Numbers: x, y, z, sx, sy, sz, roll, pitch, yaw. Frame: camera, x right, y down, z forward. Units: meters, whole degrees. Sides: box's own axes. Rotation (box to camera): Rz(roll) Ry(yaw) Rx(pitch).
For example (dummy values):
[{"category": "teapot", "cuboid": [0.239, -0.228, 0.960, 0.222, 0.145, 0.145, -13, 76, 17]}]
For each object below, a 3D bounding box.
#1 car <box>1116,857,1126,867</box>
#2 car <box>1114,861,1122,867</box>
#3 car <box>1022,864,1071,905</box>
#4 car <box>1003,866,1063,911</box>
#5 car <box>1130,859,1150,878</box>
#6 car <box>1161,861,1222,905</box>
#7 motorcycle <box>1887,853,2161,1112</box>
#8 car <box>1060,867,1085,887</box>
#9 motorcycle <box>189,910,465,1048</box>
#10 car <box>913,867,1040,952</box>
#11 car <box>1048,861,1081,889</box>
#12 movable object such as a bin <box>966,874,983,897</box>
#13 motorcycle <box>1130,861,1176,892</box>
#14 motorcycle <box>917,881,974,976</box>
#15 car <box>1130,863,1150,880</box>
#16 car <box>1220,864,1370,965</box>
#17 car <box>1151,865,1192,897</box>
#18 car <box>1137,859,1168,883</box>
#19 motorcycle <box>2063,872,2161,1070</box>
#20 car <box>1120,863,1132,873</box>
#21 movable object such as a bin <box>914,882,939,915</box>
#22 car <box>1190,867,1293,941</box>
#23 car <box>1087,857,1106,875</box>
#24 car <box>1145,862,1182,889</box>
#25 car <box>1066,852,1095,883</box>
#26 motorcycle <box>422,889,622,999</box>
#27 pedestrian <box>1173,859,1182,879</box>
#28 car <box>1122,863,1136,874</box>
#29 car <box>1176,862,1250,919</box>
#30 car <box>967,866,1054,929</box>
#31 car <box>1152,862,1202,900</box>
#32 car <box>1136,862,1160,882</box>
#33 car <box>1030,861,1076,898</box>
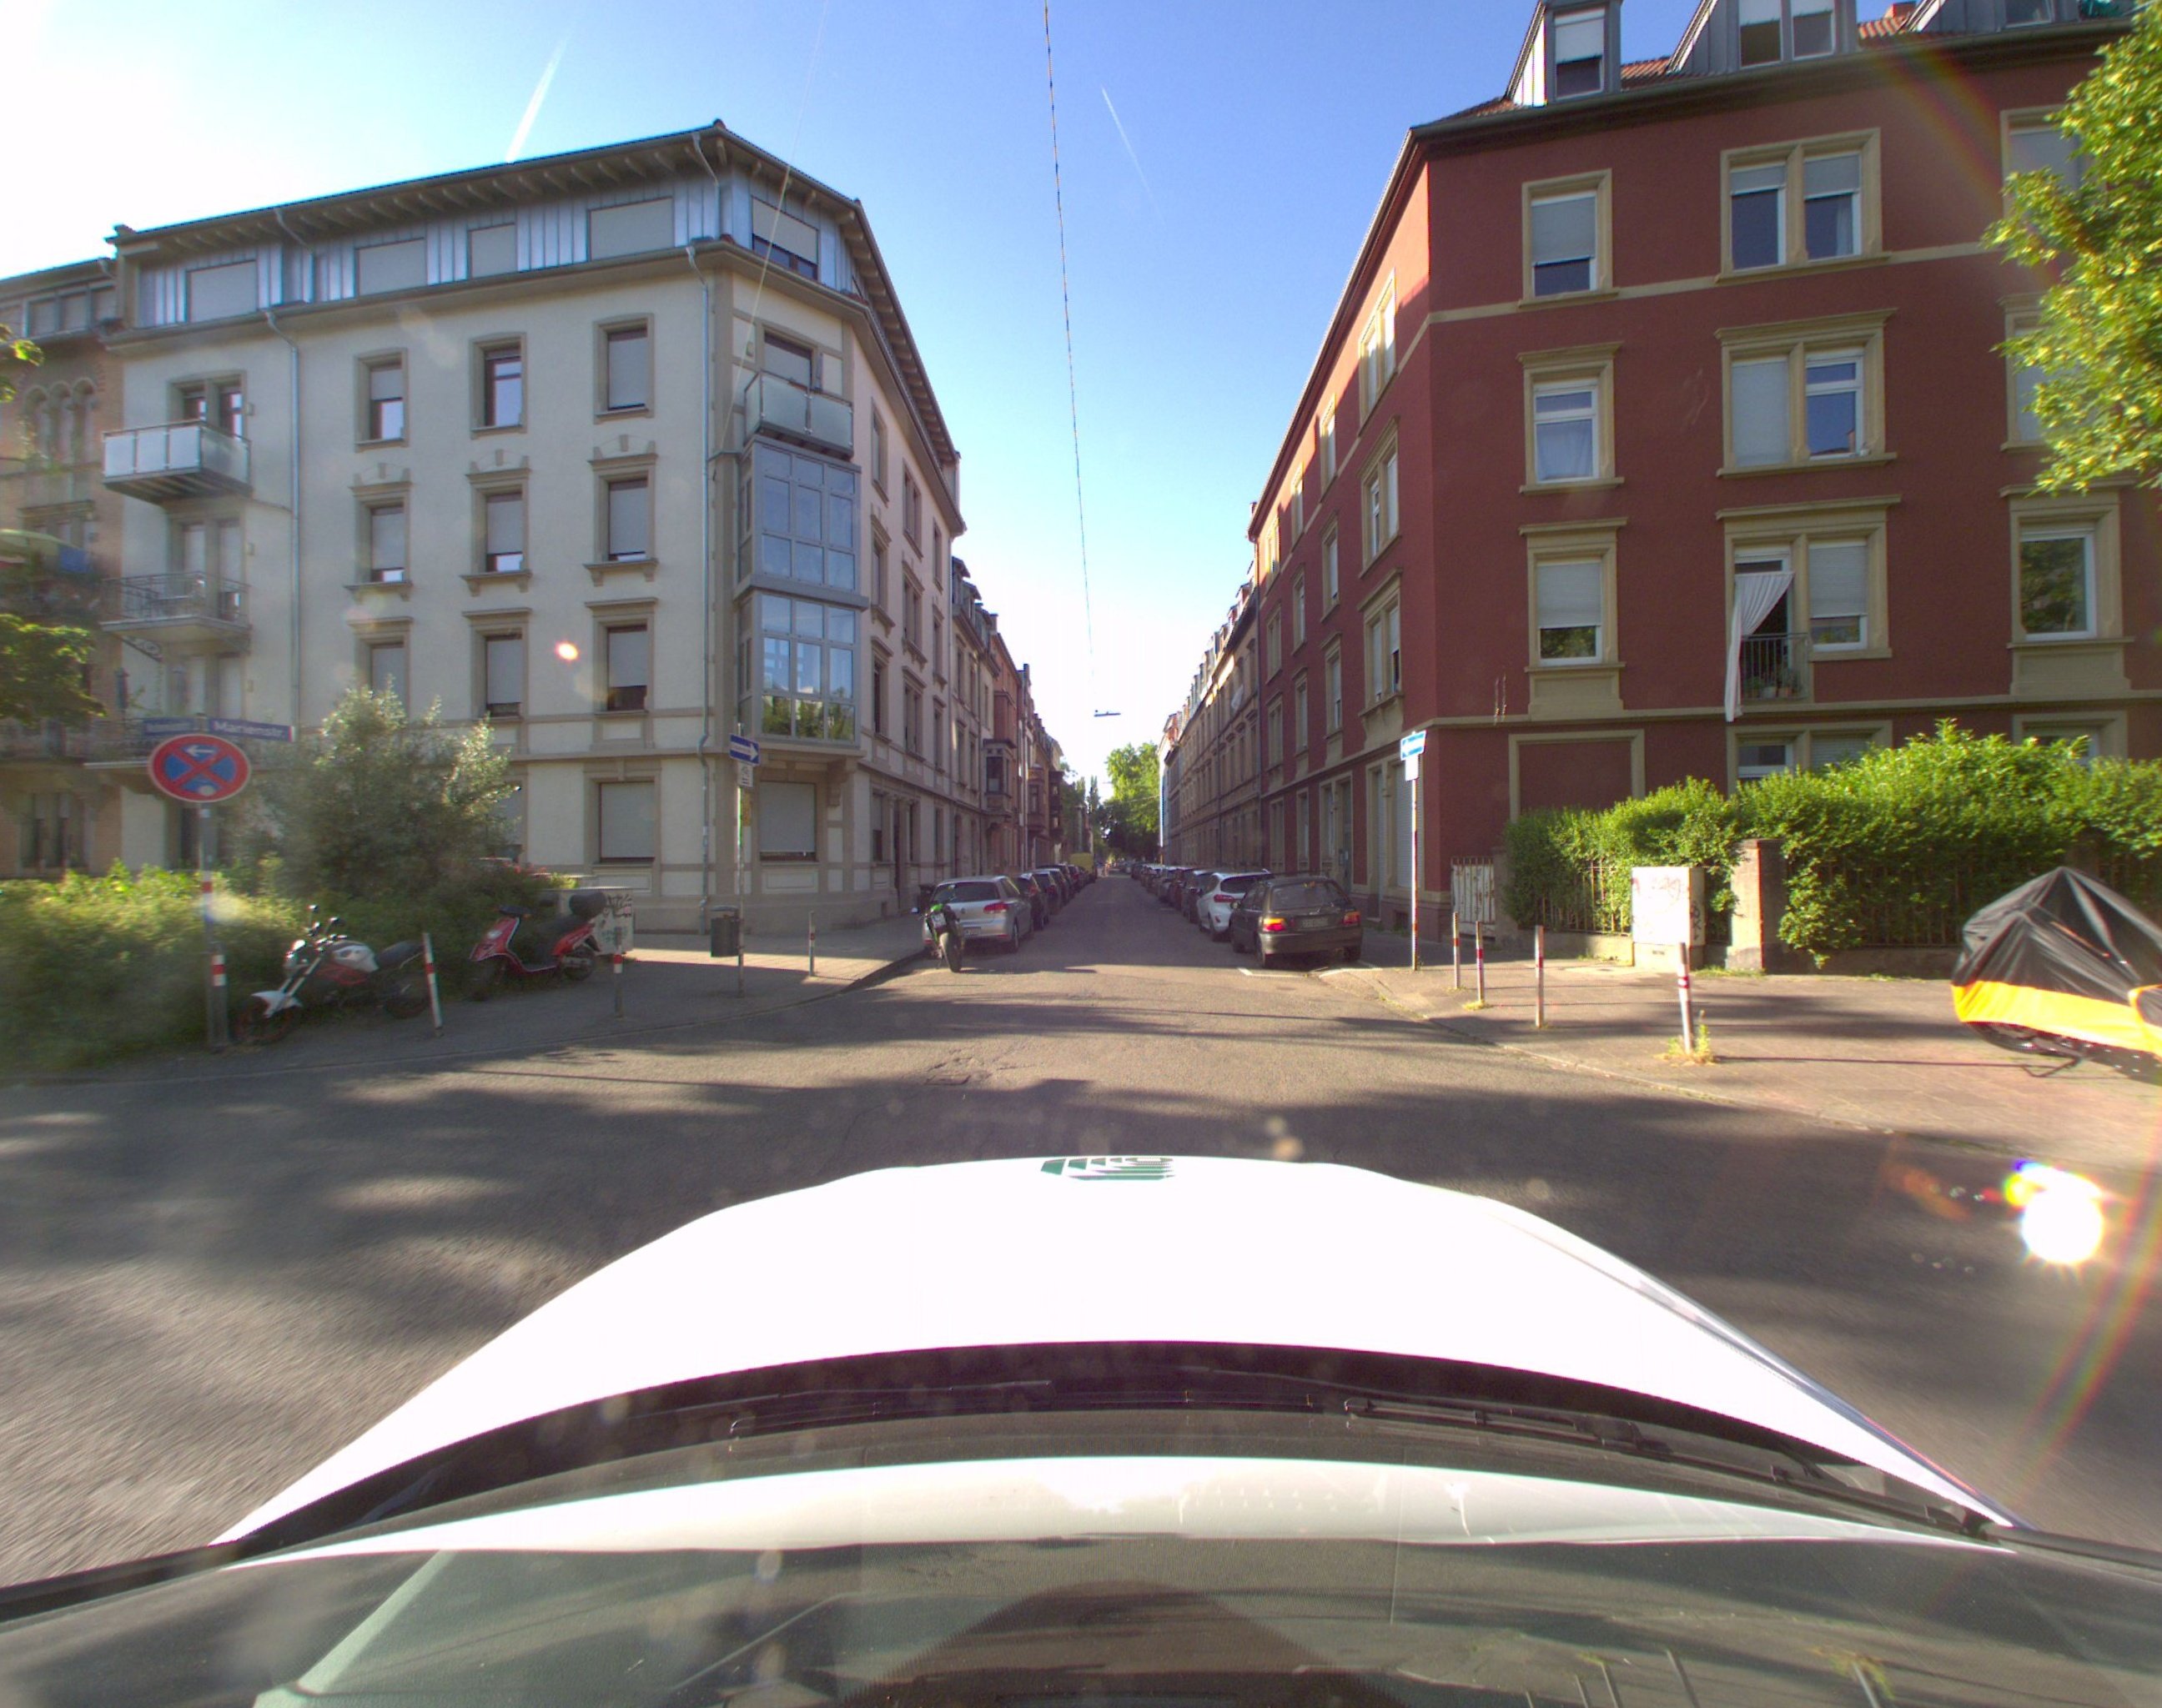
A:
[{"category": "car", "cuboid": [9.174, 1.892, 188.377, 2.153, 2.256, 4.526, 0, -1, 1]}, {"category": "car", "cuboid": [10.290, 2.818, 226.264, 1.986, 1.728, 4.001, -1, -1, 2]}, {"category": "car", "cuboid": [-1.325, 1.170, 32.610, 1.637, 1.455, 3.839, -3, -1, 1]}, {"category": "car", "cuboid": [-1.559, 1.104, 27.662, 1.775, 1.403, 3.742, 0, -1, 1]}, {"category": "car", "cuboid": [5.981, 1.494, 82.917, 1.747, 1.786, 4.725, -3, 0, 2]}, {"category": "car", "cuboid": [3.919, 0.987, 29.465, 1.653, 1.479, 4.023, 0, 0, 0]}, {"category": "motorcycle", "cuboid": [7.010, 0.769, 5.515, 0.866, 1.525, 2.630, -1, 0, 10]}, {"category": "car", "cuboid": [-0.591, 1.626, 58.219, 1.612, 1.326, 3.613, -3, -1, 1]}, {"category": "motorcycle", "cuboid": [-7.219, 1.132, 7.948, 0.634, 1.090, 1.878, -1, -2, 17]}, {"category": "car", "cuboid": [-1.969, 1.023, 16.503, 1.773, 1.483, 3.936, 0, -1, 4]}, {"category": "car", "cuboid": [-0.913, 1.195, 47.693, 1.775, 1.606, 4.069, 0, -1, 1]}, {"category": "movable object such as a bin", "cuboid": [-4.432, 1.298, 33.917, 0.610, 0.920, 0.734, 0, -1, 1]}, {"category": "motorcycle", "cuboid": [3.713, 1.176, 41.981, 2.229, 1.536, 0.883, 2, -1, -24]}, {"category": "motorcycle", "cuboid": [-2.168, 1.152, 13.199, 0.675, 1.334, 1.997, -3, 0, -5]}, {"category": "car", "cuboid": [5.595, 1.646, 77.483, 1.746, 1.453, 4.291, -4, 0, 3]}, {"category": "car", "cuboid": [3.499, 0.922, 13.971, 1.662, 1.483, 3.706, 0, -1, 1]}, {"category": "car", "cuboid": [4.332, 1.266, 39.437, 1.685, 1.406, 3.995, 0, 0, 3]}, {"category": "car", "cuboid": [4.861, 1.147, 55.991, 1.748, 1.446, 4.068, -4, -1, 0]}, {"category": "motorcycle", "cuboid": [8.047, 0.828, 5.164, 0.863, 1.404, 2.550, -1, -1, 10]}, {"category": "car", "cuboid": [7.687, 2.392, 138.290, 1.887, 1.625, 4.000, 0, -1, 1]}, {"category": "movable object such as a bin", "cuboid": [-4.647, 1.335, 24.531, 0.619, 0.956, 0.511, 1, -1, 1]}, {"category": "car", "cuboid": [3.515, 1.040, 18.493, 1.699, 1.462, 3.971, 0, -1, 2]}, {"category": "car", "cuboid": [1.588, 1.263, 84.327, 1.813, 1.766, 4.333, 0, -1, -1]}, {"category": "car", "cuboid": [4.508, 1.134, 44.983, 1.770, 1.397, 4.320, 0, 0, 2]}, {"category": "car", "cuboid": [0.014, 1.144, 69.619, 2.167, 2.508, 5.880, -3, -1, 1]}, {"category": "motorcycle", "cuboid": [-6.891, 1.050, 10.196, 0.606, 1.197, 2.054, -1, -2, 21]}, {"category": "pedestrian", "cuboid": [7.892, 1.216, 66.936, 0.650, 1.630, 0.882, -2, -2, 5]}, {"category": "car", "cuboid": [6.931, 2.074, 117.014, 1.718, 1.523, 3.998, -1, -1, -1]}, {"category": "car", "cuboid": [3.779, 0.996, 23.828, 1.670, 1.503, 4.071, 0, 0, 2]}, {"category": "car", "cuboid": [-1.756, 1.077, 21.346, 1.774, 1.483, 3.745, 0, -1, 3]}, {"category": "car", "cuboid": [3.986, 1.091, 34.378, 1.755, 1.484, 4.404, 0, 0, 3]}, {"category": "car", "cuboid": [5.852, 1.542, 71.585, 1.748, 1.518, 4.444, -4, 0, 1]}, {"category": "car", "cuboid": [-1.239, 1.128, 37.796, 1.754, 1.617, 4.191, 0, -1, 3]}]
